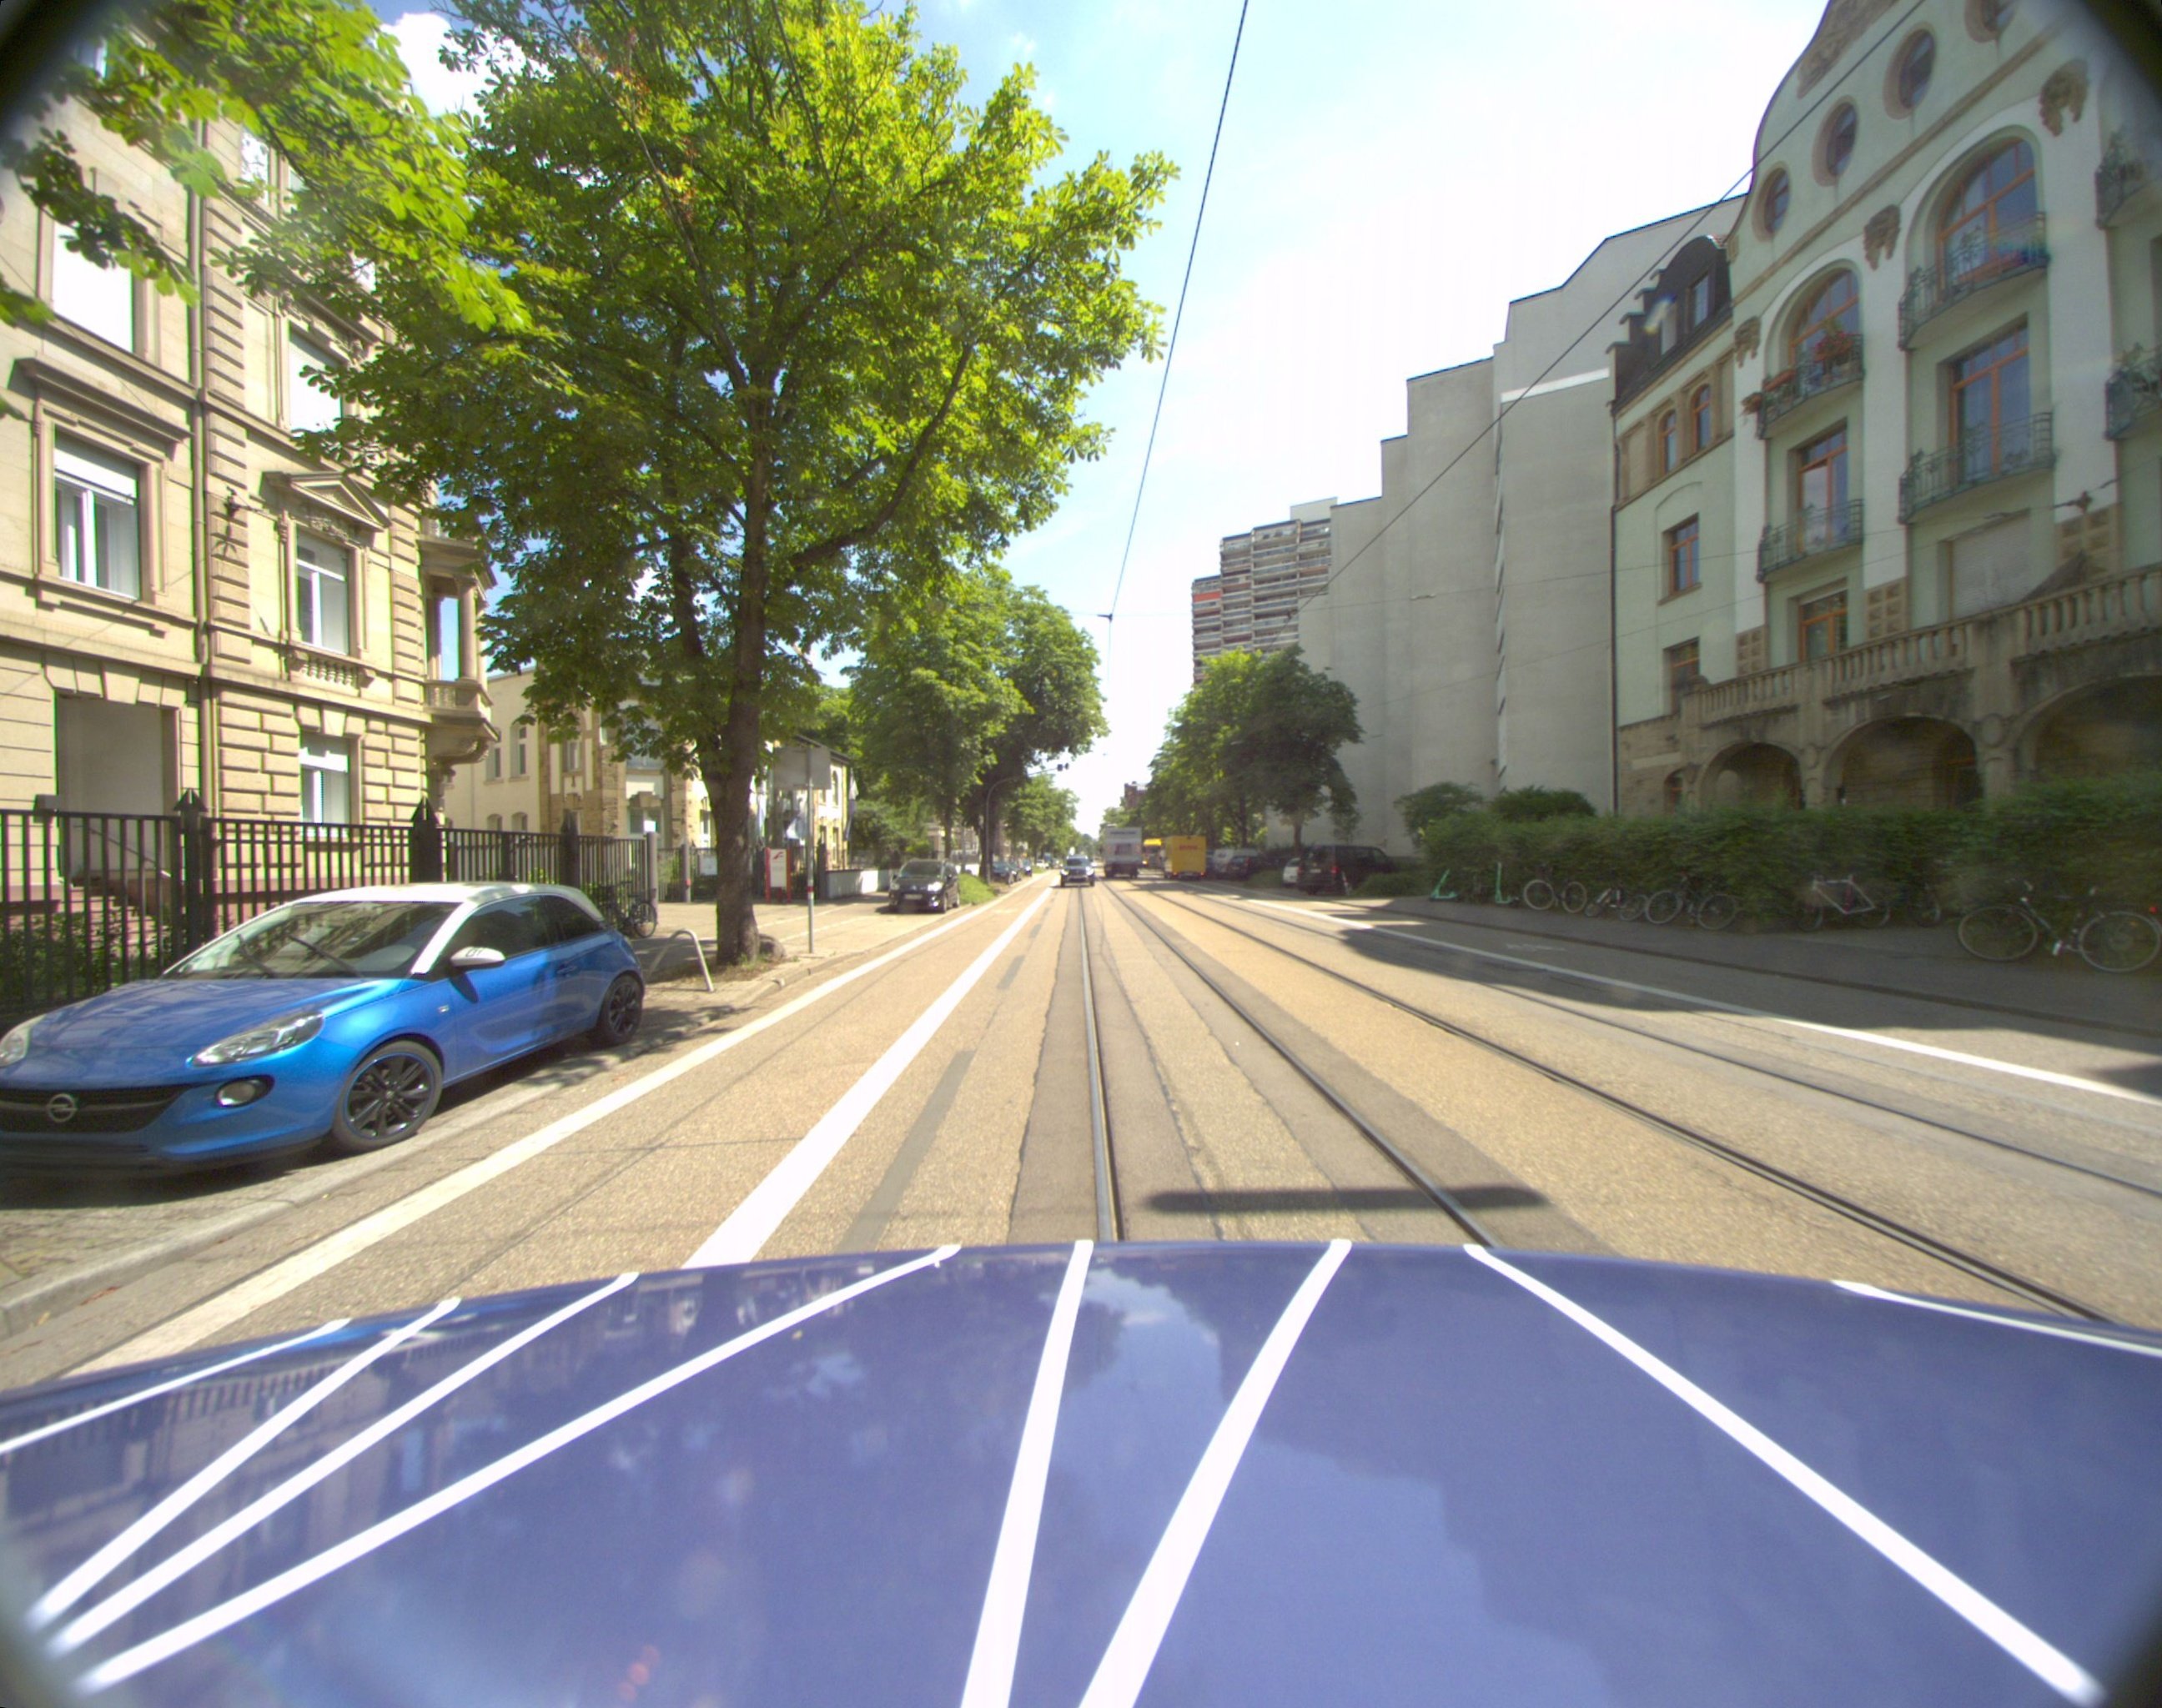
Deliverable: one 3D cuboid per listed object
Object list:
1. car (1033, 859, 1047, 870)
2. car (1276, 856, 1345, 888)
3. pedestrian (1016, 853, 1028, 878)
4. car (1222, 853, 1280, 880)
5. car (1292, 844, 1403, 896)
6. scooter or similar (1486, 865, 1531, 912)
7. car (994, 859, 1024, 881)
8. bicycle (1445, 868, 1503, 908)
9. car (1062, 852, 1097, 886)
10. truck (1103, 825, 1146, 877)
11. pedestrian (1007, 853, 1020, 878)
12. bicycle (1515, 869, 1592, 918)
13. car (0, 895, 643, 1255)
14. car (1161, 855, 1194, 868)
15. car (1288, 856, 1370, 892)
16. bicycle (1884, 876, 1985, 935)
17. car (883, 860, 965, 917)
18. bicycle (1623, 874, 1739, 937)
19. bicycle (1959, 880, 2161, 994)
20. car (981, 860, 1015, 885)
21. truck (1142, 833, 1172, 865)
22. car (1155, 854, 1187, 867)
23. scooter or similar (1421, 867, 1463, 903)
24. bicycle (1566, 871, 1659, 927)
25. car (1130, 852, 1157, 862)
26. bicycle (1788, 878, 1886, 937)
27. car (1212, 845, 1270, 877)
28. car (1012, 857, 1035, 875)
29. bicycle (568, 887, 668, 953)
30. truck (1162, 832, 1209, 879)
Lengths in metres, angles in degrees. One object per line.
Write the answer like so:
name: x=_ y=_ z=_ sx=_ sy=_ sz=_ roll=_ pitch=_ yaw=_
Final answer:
car: x=-5.384 y=1.335 z=99.665 sx=1.626 sy=1.395 sz=4.000 roll=1 pitch=0 yaw=0
car: x=11.232 y=0.828 z=37.032 sx=1.721 sy=1.445 sz=3.635 roll=-1 pitch=0 yaw=44
pedestrian: x=-4.301 y=0.856 z=55.644 sx=0.645 sy=1.839 sz=0.741 roll=-1 pitch=1 yaw=17
car: x=10.459 y=0.731 z=46.591 sx=3.692 sy=1.566 sz=1.678 roll=-1 pitch=1 yaw=-43
car: x=10.680 y=0.591 z=30.313 sx=4.595 sy=1.914 sz=1.957 roll=-1 pitch=0 yaw=-37
scooter or similar: x=10.753 y=0.841 z=19.135 sx=0.407 sy=1.113 sz=1.291 roll=-1 pitch=0 yaw=2
car: x=-4.962 y=1.060 z=52.763 sx=1.626 sy=1.395 sz=4.000 roll=1 pitch=0 yaw=0
bicycle: x=10.785 y=0.908 z=20.906 sx=0.609 sy=0.983 sz=1.708 roll=-5 pitch=0 yaw=-1
car: x=-0.095 y=0.770 z=41.060 sx=1.752 sy=1.641 sz=4.297 roll=-2 pitch=0 yaw=0
truck: x=3.168 y=-0.216 z=57.347 sx=2.792 sy=3.598 sz=8.255 roll=-1 pitch=0 yaw=1
pedestrian: x=-4.993 y=0.838 z=56.100 sx=0.645 sy=1.839 sz=0.741 roll=-1 pitch=1 yaw=26
bicycle: x=10.835 y=0.879 z=17.492 sx=0.609 sy=0.983 sz=1.708 roll=-5 pitch=0 yaw=-1
car: x=-4.845 y=1.112 z=5.206 sx=1.695 sy=1.444 sz=3.473 roll=-1 pitch=0 yaw=-1
car: x=10.527 y=0.820 z=83.088 sx=1.678 sy=1.411 sz=3.682 roll=-1 pitch=0 yaw=44
car: x=11.096 y=0.840 z=33.834 sx=3.953 sy=1.445 sz=1.678 roll=-1 pitch=0 yaw=-41
bicycle: x=13.664 y=0.821 z=12.178 sx=1.208 sy=0.903 sz=0.340 roll=-1 pitch=1 yaw=2
car: x=-4.884 y=1.035 z=24.232 sx=1.734 sy=1.606 sz=4.084 roll=1 pitch=0 yaw=0
bicycle: x=10.714 y=0.887 z=13.653 sx=0.609 sy=0.970 sz=1.771 roll=-5 pitch=0 yaw=-1
bicycle: x=10.930 y=0.849 z=8.270 sx=0.609 sy=1.026 sz=1.771 roll=-5 pitch=0 yaw=-1
car: x=-4.963 y=1.093 z=45.980 sx=1.626 sy=1.395 sz=3.823 roll=1 pitch=0 yaw=0
truck: x=10.632 y=-0.643 z=105.327 sx=2.672 sy=4.155 sz=10.483 roll=-1 pitch=0 yaw=13
car: x=10.237 y=0.742 z=86.287 sx=1.678 sy=1.445 sz=3.682 roll=-1 pitch=0 yaw=44
scooter or similar: x=10.718 y=0.915 z=22.570 sx=0.407 sy=1.014 sz=1.222 roll=-1 pitch=0 yaw=-16
bicycle: x=10.801 y=0.886 z=15.516 sx=0.609 sy=0.983 sz=1.708 roll=-5 pitch=0 yaw=-1
car: x=11.146 y=0.525 z=135.412 sx=4.337 sy=1.797 sz=1.995 roll=-1 pitch=0 yaw=-33
bicycle: x=12.080 y=0.853 z=12.155 sx=1.208 sy=0.903 sz=0.340 roll=-1 pitch=1 yaw=2
car: x=10.559 y=0.432 z=50.068 sx=4.061 sy=2.030 sz=1.598 roll=-1 pitch=0 yaw=-40
car: x=-4.873 y=1.003 z=65.084 sx=1.626 sy=1.395 sz=4.000 roll=1 pitch=0 yaw=0
bicycle: x=-8.652 y=1.197 z=14.302 sx=0.609 sy=1.065 sz=1.980 roll=-1 pitch=0 yaw=2
truck: x=6.861 y=0.072 z=50.712 sx=2.306 sy=2.903 sz=6.515 roll=-1 pitch=0 yaw=1
